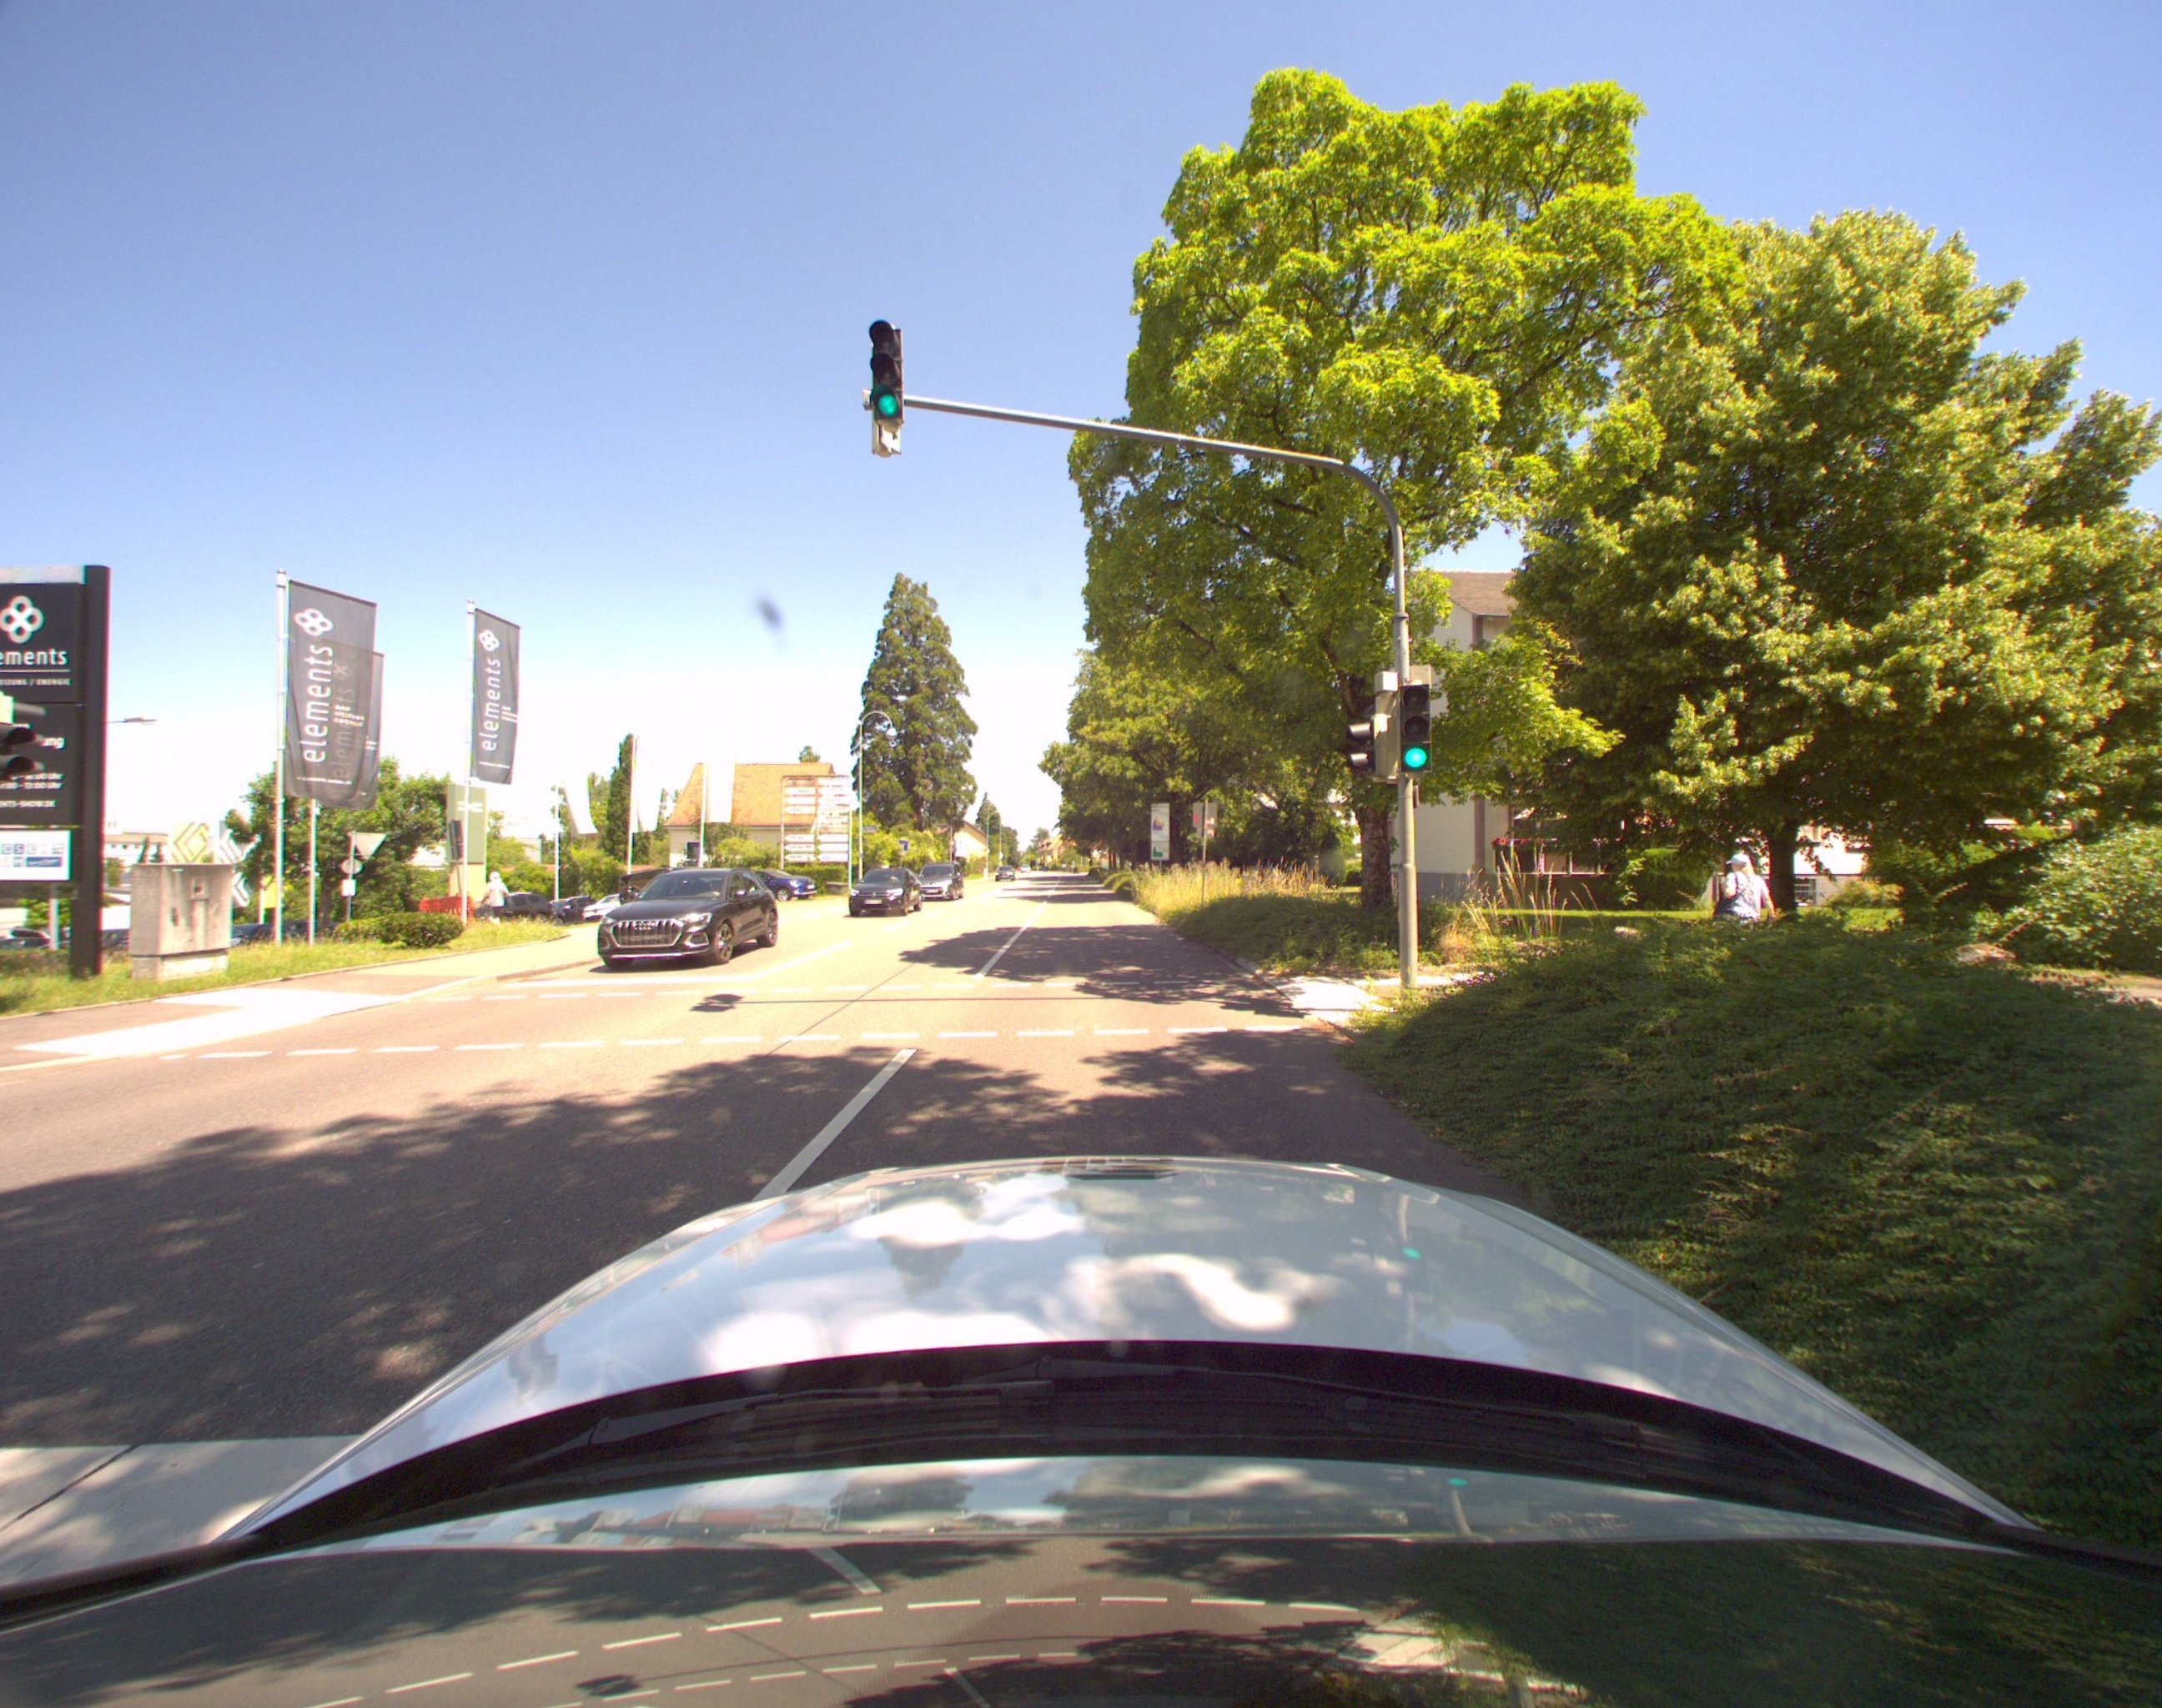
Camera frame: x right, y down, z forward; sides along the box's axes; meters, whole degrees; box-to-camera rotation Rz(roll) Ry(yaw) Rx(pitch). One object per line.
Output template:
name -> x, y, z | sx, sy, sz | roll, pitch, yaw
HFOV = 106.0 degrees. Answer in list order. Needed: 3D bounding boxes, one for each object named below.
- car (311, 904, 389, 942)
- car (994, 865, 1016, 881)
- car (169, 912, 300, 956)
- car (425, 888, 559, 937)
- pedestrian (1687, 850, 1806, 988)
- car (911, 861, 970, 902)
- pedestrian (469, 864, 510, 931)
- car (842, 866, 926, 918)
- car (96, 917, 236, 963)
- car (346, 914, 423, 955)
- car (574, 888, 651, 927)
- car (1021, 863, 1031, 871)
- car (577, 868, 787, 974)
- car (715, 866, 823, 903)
car -> -39.353, 3.666, 43.944 | 1.816, 1.722, 4.059 | 0, -1, -22
car -> -7.617, 1.925, 82.184 | 1.788, 1.536, 4.313 | -1, -1, -1
car -> -34.482, 3.226, 33.325 | 1.647, 1.415, 3.857 | -1, -1, -8
car -> -23.608, 2.289, 32.843 | 1.795, 1.722, 4.106 | -1, -1, 16
pedestrian -> 8.249, 0.776, 10.126 | 0.717, 1.633, 0.849 | -1, -1, -7
car -> -6.375, 1.215, 37.481 | 1.804, 1.762, 4.571 | -1, -1, 1
pedestrian -> -15.850, 1.150, 21.828 | 0.538, 1.761, 0.706 | -2, -1, 28
car -> -6.312, 1.166, 26.536 | 1.864, 1.507, 4.049 | -1, -1, -2
car -> -37.252, 3.461, 33.329 | 1.754, 1.486, 3.983 | -1, -1, -12
car -> -35.971, 4.125, 42.189 | 1.816, 1.722, 4.059 | 0, -1, -22
car -> -23.384, 2.628, 40.816 | 1.806, 1.722, 4.080 | 0, -1, -6
car -> -11.049, 2.597, 164.339 | 1.907, 1.689, 4.123 | 1, 0, -1
car -> -6.863, 1.053, 14.599 | 1.923, 1.555, 4.295 | -1, -1, -5
car -> -13.865, 1.347, 36.298 | 4.109, 1.504, 1.782 | -1, -1, 10
